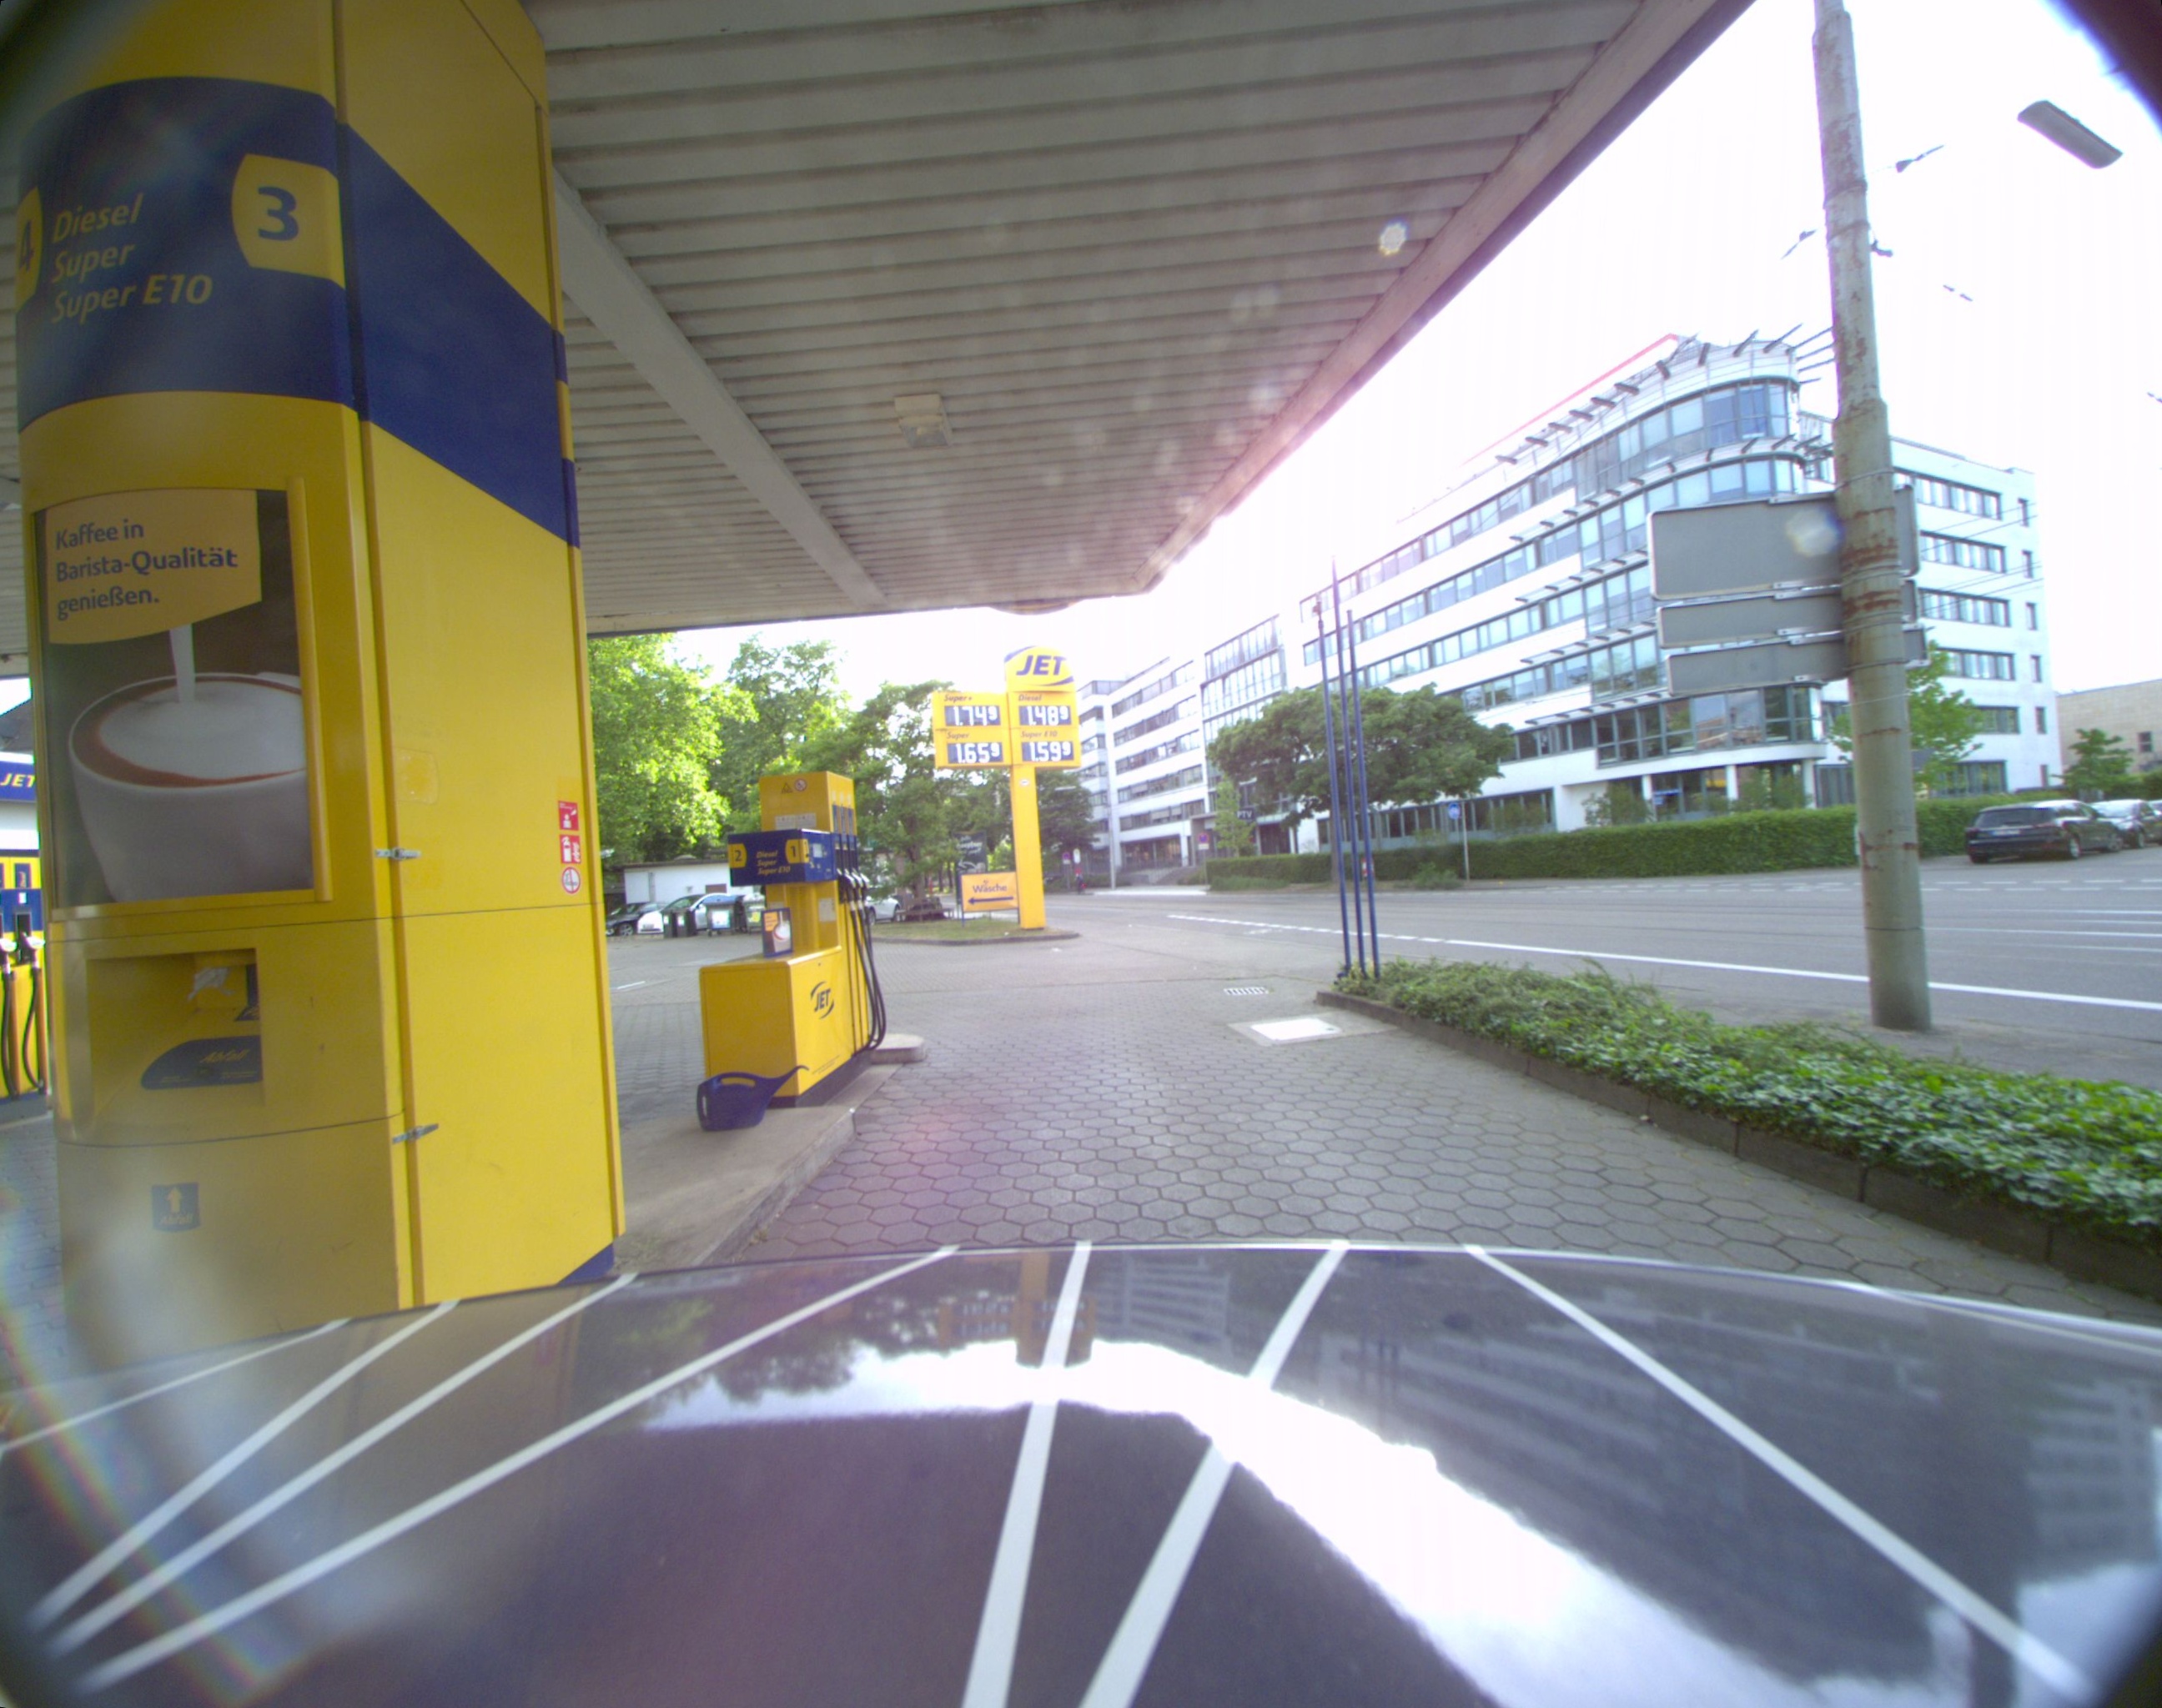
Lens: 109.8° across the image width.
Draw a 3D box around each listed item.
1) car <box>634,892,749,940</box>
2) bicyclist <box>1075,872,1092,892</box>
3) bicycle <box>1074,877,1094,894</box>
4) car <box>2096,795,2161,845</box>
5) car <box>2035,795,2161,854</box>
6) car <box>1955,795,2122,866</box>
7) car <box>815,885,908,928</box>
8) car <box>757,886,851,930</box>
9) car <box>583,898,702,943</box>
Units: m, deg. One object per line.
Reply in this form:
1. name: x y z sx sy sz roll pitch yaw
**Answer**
1. car: -15.385 2.399 30.265 1.823 1.575 4.200 -4 -2 10
2. bicyclist: 0.200 2.117 57.440 0.792 1.443 1.174 -3 1 -23
3. bicycle: 0.235 2.355 57.380 0.792 1.232 1.879 -2 0 -23
4. car: 37.110 -1.255 26.023 4.201 1.568 1.820 -4 -1 -24
5. car: 32.581 -0.962 24.075 4.201 1.568 1.820 -4 -1 -24
6. car: 27.423 -0.673 21.765 4.397 1.678 1.820 -4 -1 -24
7. car: -8.651 2.035 30.388 1.823 1.449 4.200 -4 -2 10
8. car: -11.741 2.252 32.476 1.823 1.575 4.200 -4 -2 10
9. car: -17.529 2.617 30.619 1.823 1.426 4.200 -4 -2 10
